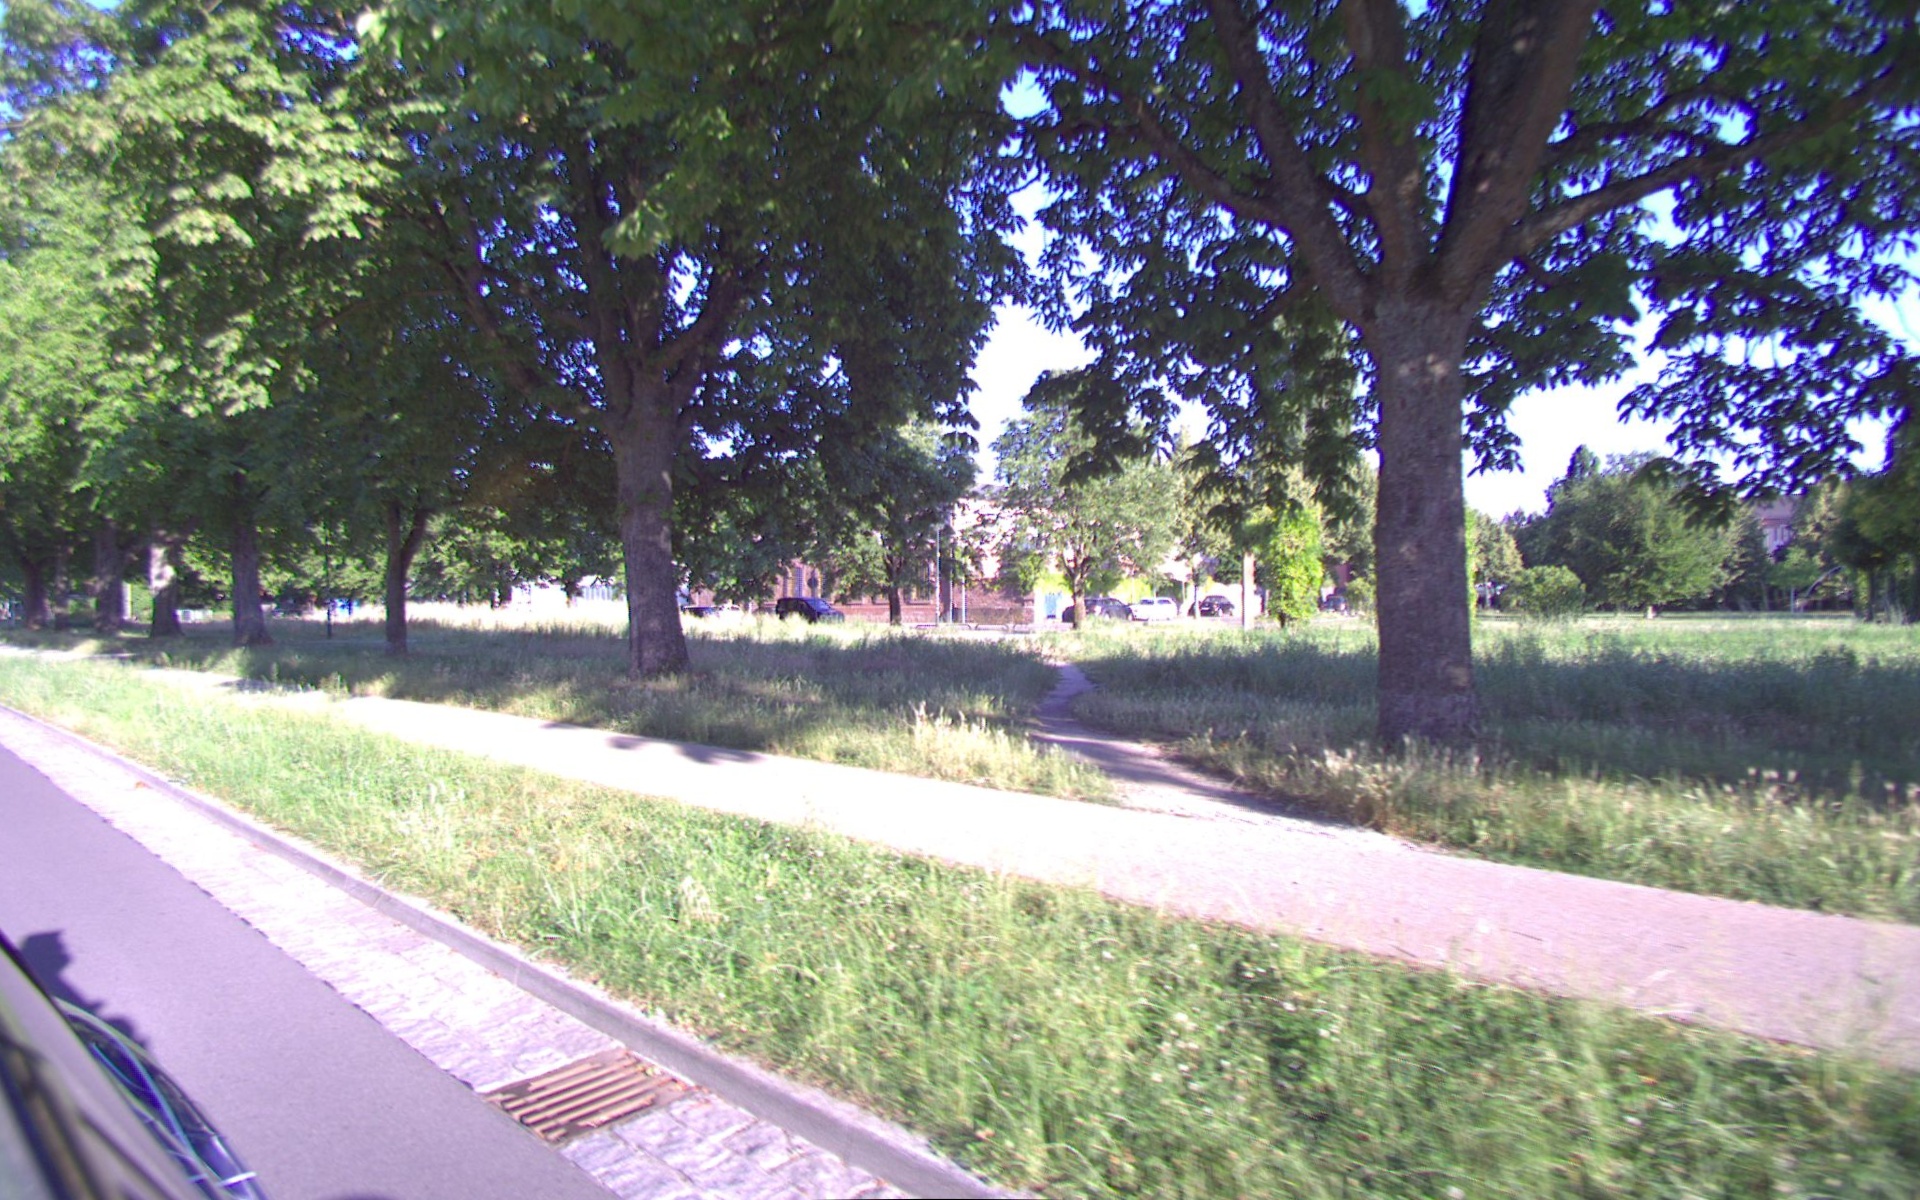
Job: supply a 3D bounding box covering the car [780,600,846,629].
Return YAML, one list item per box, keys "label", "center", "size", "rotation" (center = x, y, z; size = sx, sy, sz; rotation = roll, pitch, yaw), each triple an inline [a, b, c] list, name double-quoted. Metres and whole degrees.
- label: "car"
  center: [-8.006, 0.755, 54.820]
  size: [3.639, 1.492, 1.564]
  rotation: [0, 2, 42]

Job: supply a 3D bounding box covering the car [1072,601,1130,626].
- label: "car"
  center: [8.223, 0.756, 58.899]
  size: [1.586, 1.289, 3.589]
  rotation: [0, 2, 42]

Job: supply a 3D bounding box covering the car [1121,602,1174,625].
- label: "car"
  center: [11.756, 0.814, 63.326]
  size: [1.586, 1.289, 3.589]
  rotation: [0, 2, 42]

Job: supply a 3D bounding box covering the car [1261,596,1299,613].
- label: "car"
  center: [25.953, 0.353, 82.106]
  size: [1.586, 1.289, 3.589]
  rotation: [0, 2, 42]

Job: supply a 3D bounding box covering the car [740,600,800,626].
- label: "car"
  center: [-12.453, 0.842, 66.225]
  size: [3.998, 1.641, 1.744]
  rotation: [-1, 1, 41]

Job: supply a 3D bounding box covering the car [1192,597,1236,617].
- label: "car"
  center: [18.214, 0.470, 72.424]
  size: [1.586, 1.289, 3.589]
  rotation: [0, 2, 42]
